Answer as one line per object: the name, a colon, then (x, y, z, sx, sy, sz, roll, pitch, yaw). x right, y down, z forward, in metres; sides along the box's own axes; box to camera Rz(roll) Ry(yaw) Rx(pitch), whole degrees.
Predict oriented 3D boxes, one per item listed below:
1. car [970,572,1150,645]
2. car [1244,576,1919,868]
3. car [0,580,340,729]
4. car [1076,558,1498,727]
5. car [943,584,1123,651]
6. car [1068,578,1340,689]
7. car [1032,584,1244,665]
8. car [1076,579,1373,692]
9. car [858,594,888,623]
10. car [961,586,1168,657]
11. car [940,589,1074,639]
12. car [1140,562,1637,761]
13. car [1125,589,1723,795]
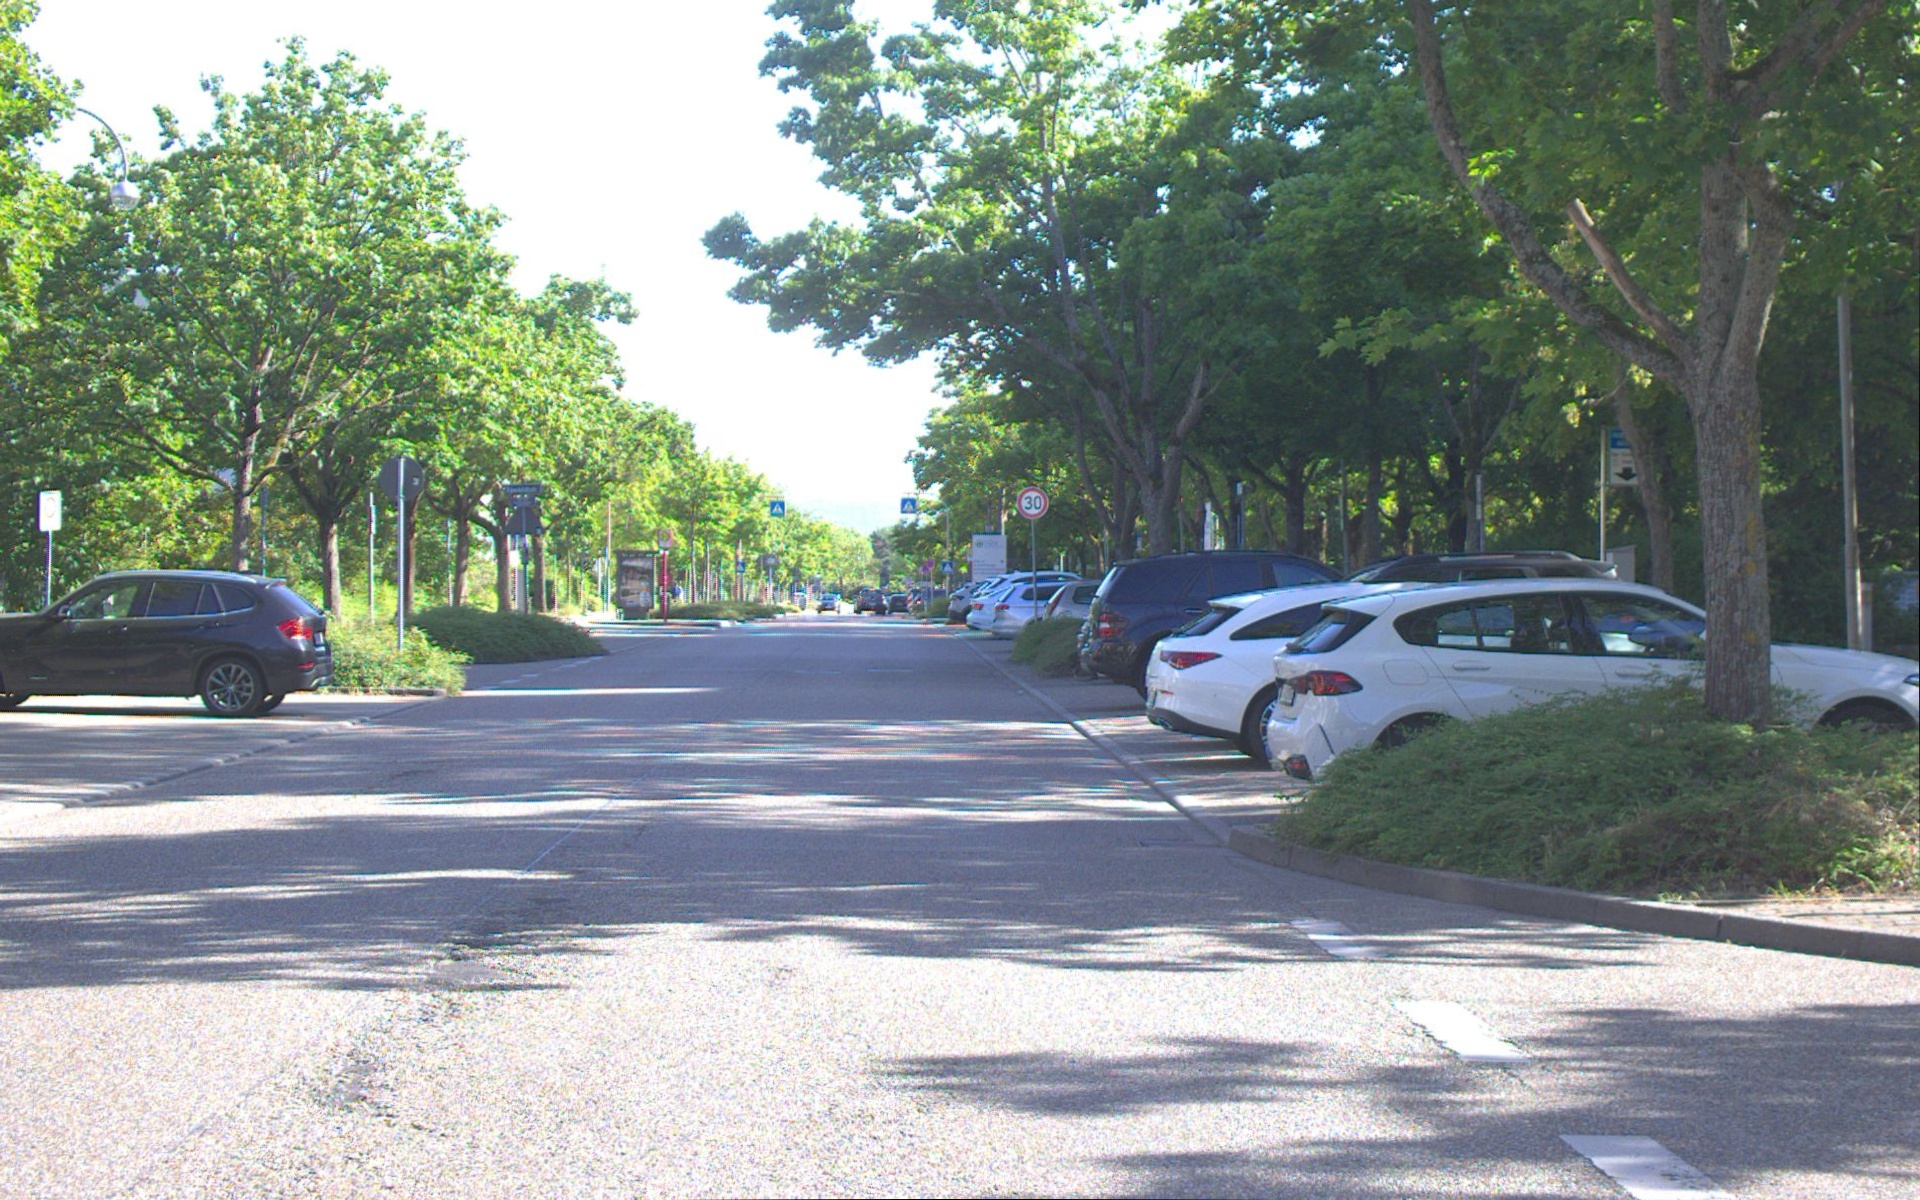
car: (2.562, 0.208, 88.557, 4.434, 1.642, 1.816, -3, 0, -3)
car: (4.120, 0.712, 21.363, 4.426, 1.587, 1.837, -2, 0, -4)
car: (-8.918, 0.568, 36.917, 4.192, 1.515, 1.772, 1, 0, 0)
car: (3.693, 0.473, 39.490, 4.586, 1.773, 2.000, -1, 0, -1)
car: (1.796, 0.423, 85.845, 4.342, 1.484, 1.738, -2, 0, -3)
car: (3.632, 0.488, 51.510, 3.808, 1.494, 1.701, -2, 0, -4)
car: (3.447, 0.467, 67.158, 3.987, 1.446, 1.717, -2, 0, -1)
car: (3.706, 0.487, 48.729, 3.987, 1.382, 1.822, -3, 0, -1)
car: (-6.136, 0.592, 242.570, 1.993, 2.007, 4.000, 1, 0, -1)
car: (2.206, 0.443, 71.973, 4.275, 1.423, 1.827, 0, 0, 4)
car: (1.480, 0.442, 110.210, 4.164, 1.423, 2.000, -3, 0, -1)
car: (3.770, 0.544, 30.716, 4.117, 1.612, 1.734, -2, -1, -3)
car: (3.646, 0.715, 27.478, 4.441, 1.540, 1.817, 1, 0, -4)
